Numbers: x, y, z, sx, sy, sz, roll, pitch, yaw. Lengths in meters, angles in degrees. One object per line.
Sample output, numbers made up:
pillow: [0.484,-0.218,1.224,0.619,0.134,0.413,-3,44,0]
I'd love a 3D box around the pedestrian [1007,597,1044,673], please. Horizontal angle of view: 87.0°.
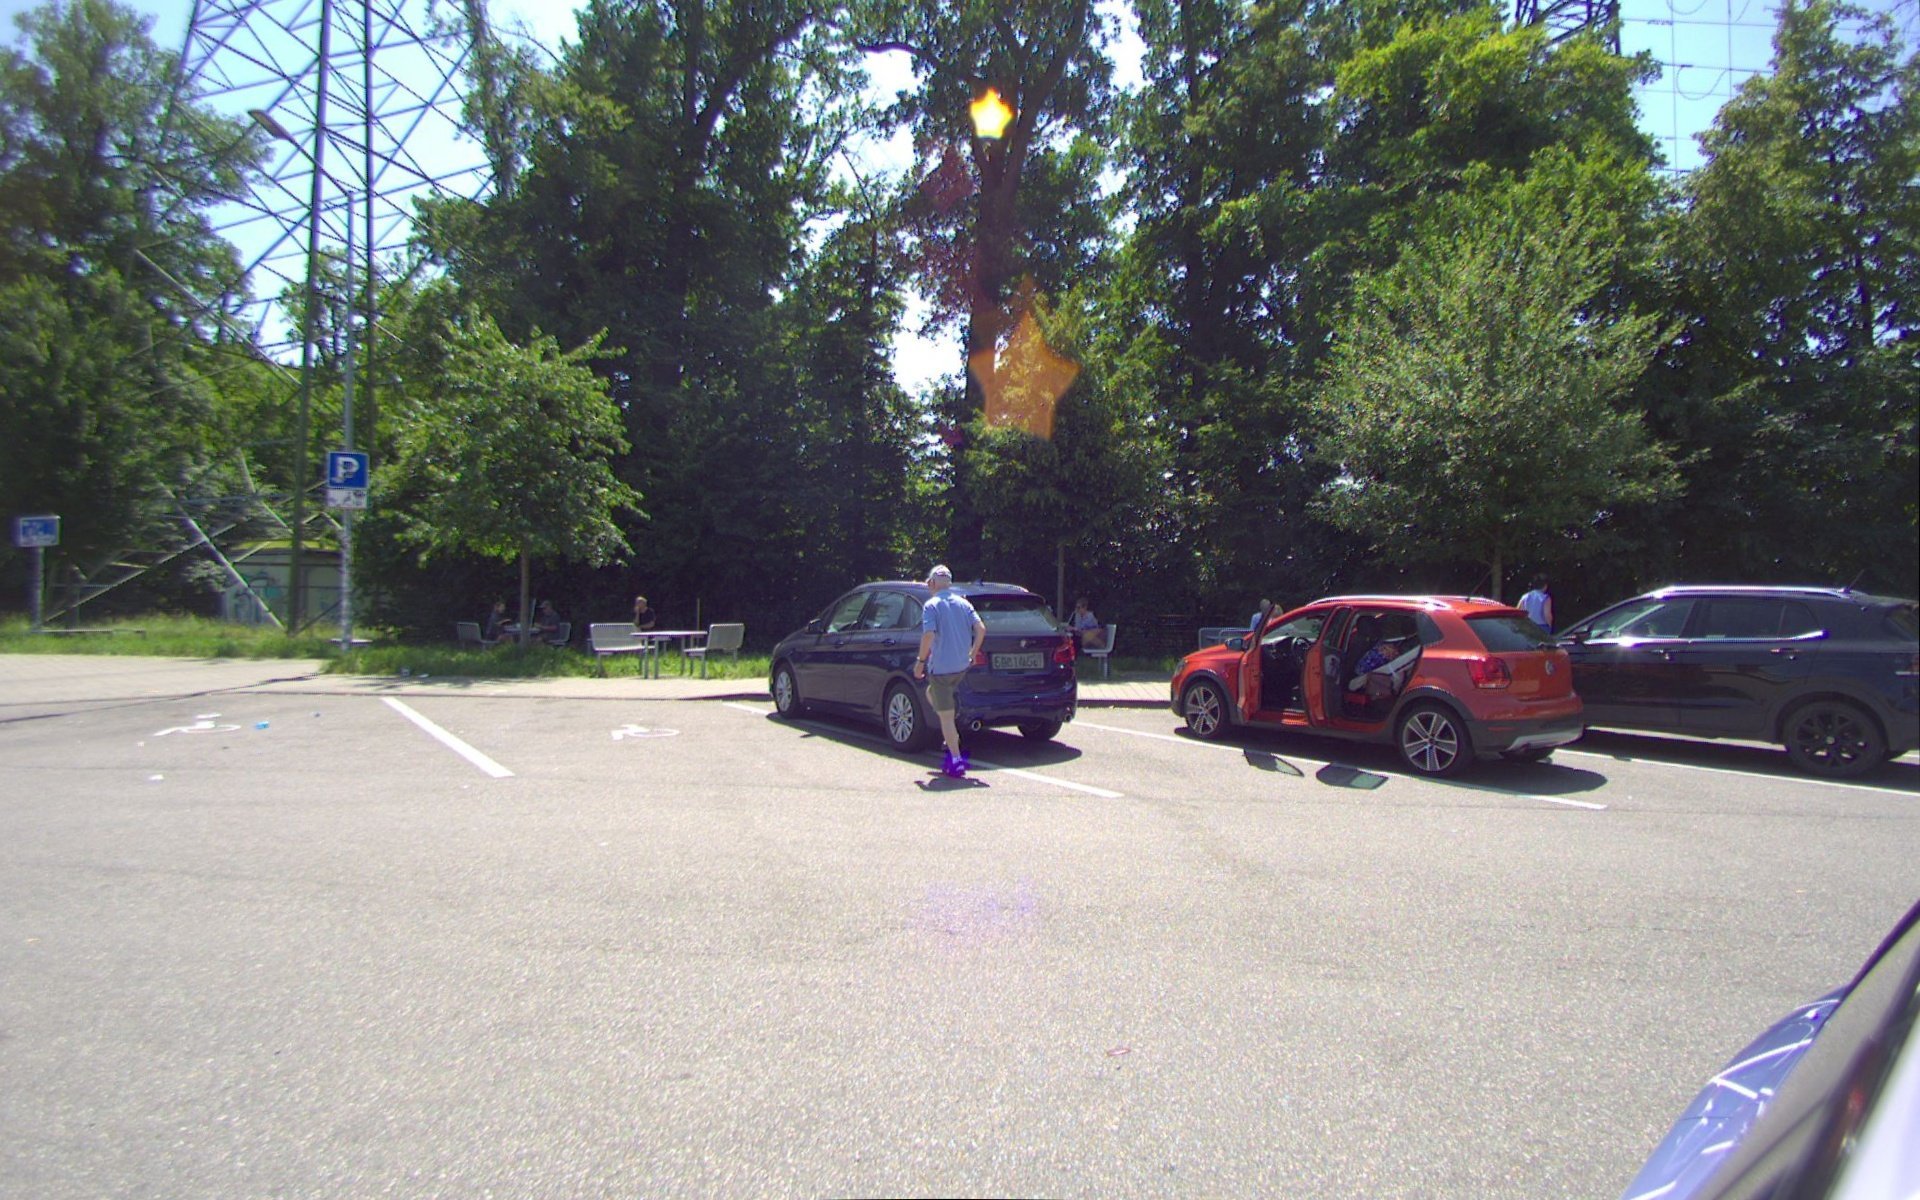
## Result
pedestrian: [1.097,0.584,17.088,0.576,1.251,0.697,0,-1,1]

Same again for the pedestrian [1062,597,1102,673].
pedestrian: [2.044,0.580,17.022,0.576,1.251,0.697,0,-1,1]

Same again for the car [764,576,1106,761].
car: [-0.455,0.557,10.673,1.776,1.562,3.940,1,0,-34]

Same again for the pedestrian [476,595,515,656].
pedestrian: [-10.488,0.554,22.848,0.687,1.352,0.563,0,0,-40]

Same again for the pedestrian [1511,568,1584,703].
pedestrian: [8.372,0.484,14.431,0.511,1.854,0.765,0,0,-39]

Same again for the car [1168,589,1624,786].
car: [3.882,0.644,9.600,1.559,1.467,3.737,1,0,-33]

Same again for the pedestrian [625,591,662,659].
pedestrian: [-6.659,0.520,21.325,0.553,1.408,0.700,0,0,2]

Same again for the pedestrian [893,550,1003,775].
pedestrian: [-0.113,0.487,8.398,0.662,1.754,0.835,1,0,-21]

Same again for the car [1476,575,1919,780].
car: [7.247,0.594,9.714,1.707,1.607,3.732,1,0,-39]

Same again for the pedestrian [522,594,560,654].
pedestrian: [-9.731,0.544,23.486,0.687,1.352,0.563,0,0,-40]
